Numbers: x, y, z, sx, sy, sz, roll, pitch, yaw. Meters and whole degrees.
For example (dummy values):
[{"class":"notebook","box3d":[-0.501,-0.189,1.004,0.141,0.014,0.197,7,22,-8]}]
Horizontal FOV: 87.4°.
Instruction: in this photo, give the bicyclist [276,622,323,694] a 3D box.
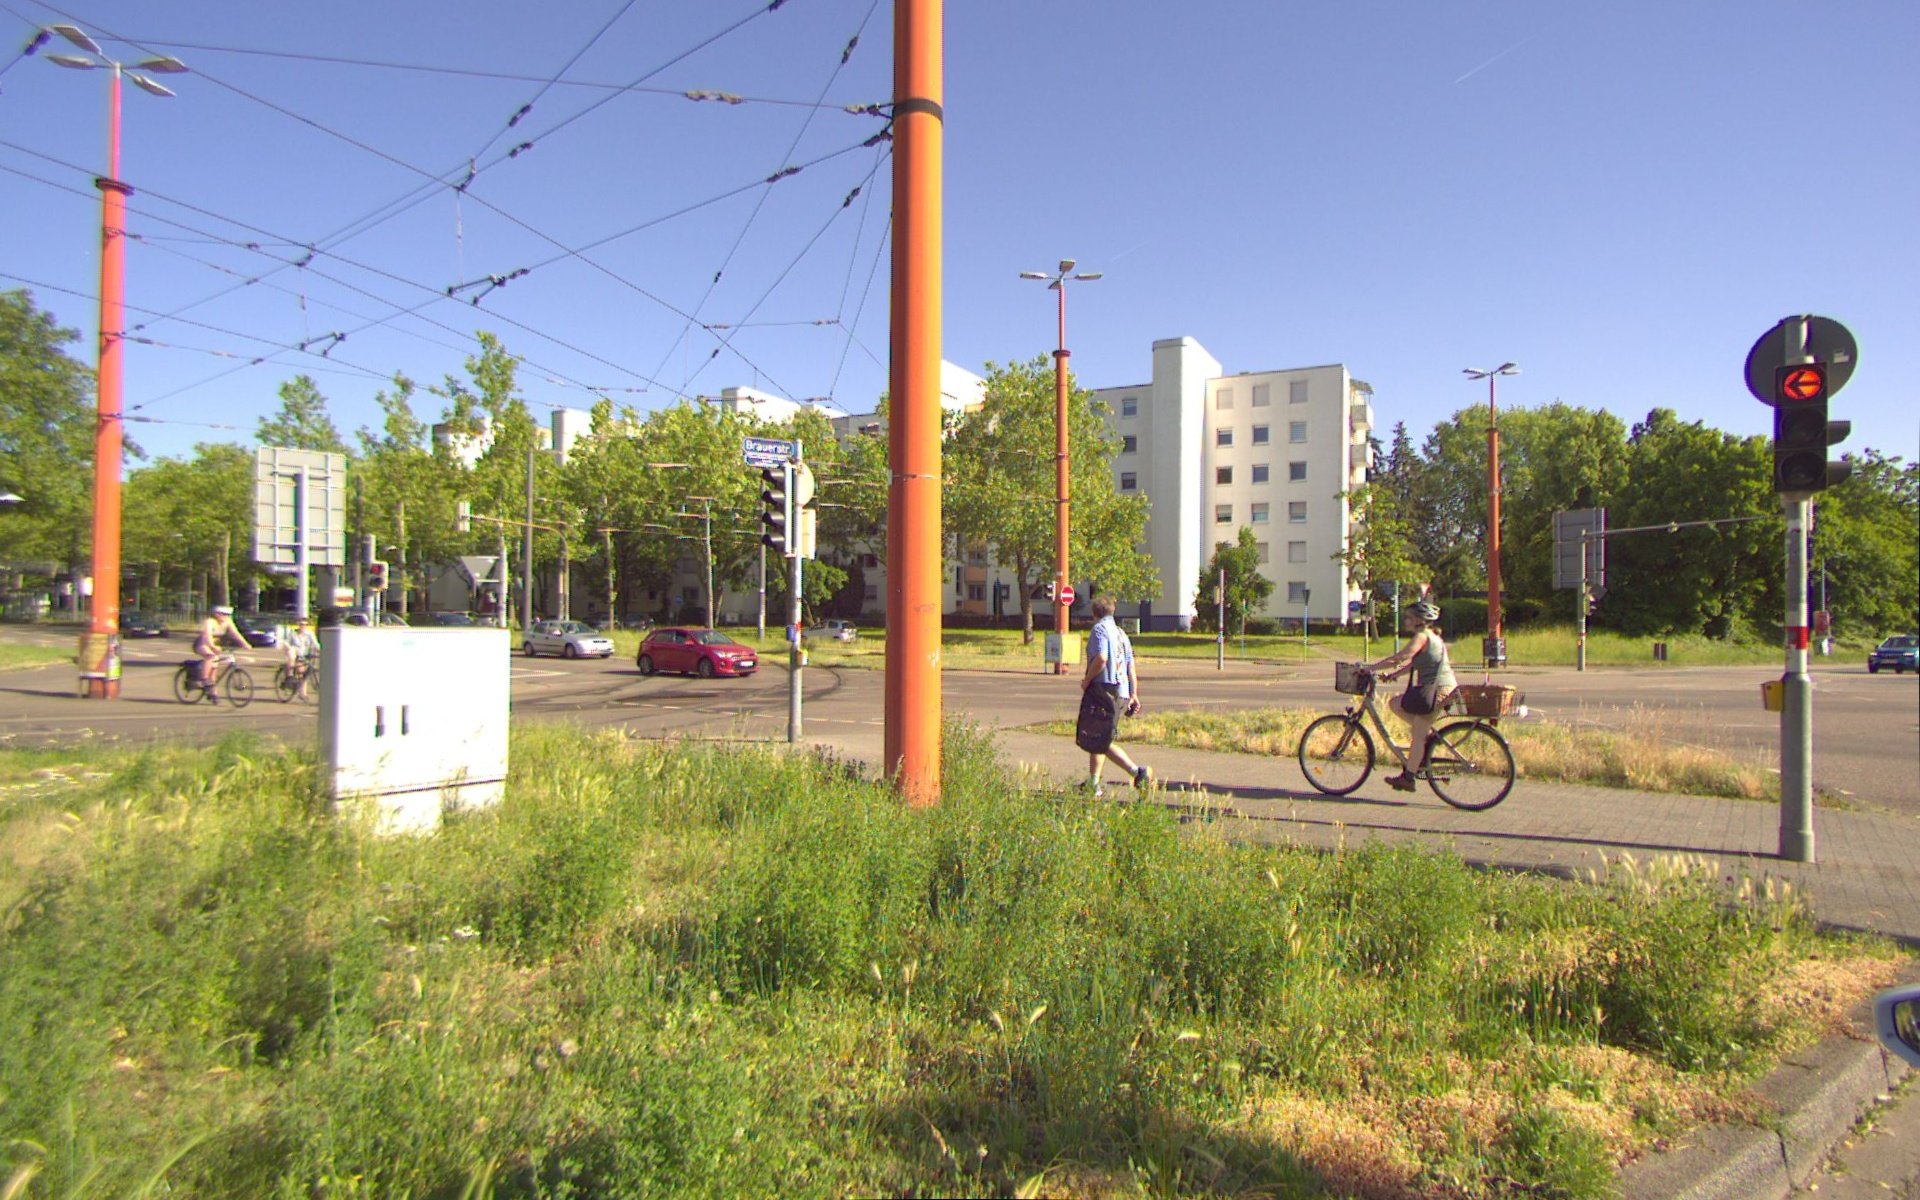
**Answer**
[{"class":"bicyclist","box3d":[-13.129,1.146,19.986,0.616,1.399,0.443,1,-1,-1]}]

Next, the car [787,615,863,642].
[{"class":"car","box3d":[-7.497,1.582,55.803,3.927,1.416,1.754,0,-1,29]}]

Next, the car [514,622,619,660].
[{"class":"car","box3d":[-14.920,1.529,38.062,3.926,1.363,1.486,0,-1,27]}]

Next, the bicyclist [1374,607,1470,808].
[{"class":"bicyclist","box3d":[3.919,0.867,8.506,0.651,1.605,0.671,0,-1,33]}]

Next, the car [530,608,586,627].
[{"class":"car","box3d":[-31.938,1.374,79.971,3.935,1.428,1.794,1,-1,-17]}]

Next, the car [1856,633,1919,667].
[{"class":"car","box3d":[37.156,1.964,39.620,3.571,1.260,1.730,1,-1,-31]}]

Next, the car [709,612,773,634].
[{"class":"car","box3d":[-14.542,1.555,66.842,1.770,1.428,3.987,0,-1,35]}]

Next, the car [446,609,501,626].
[{"class":"car","box3d":[-41.435,1.491,85.625,3.935,1.428,1.794,1,-1,-17]}]

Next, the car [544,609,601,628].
[{"class":"car","box3d":[-30.076,1.423,78.074,3.934,1.428,1.794,1,-1,-16]}]

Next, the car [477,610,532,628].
[{"class":"car","box3d":[-38.031,1.573,83.883,3.935,1.428,1.794,1,-1,-17]}]

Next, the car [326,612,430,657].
[{"class":"car","box3d":[-23.173,1.345,39.984,4.179,1.658,1.824,0,-1,32]}]

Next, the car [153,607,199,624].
[{"class":"car","box3d":[-93.988,1.888,120.455,1.969,2.040,3.984,0,-1,38]}]

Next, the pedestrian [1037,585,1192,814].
[{"class":"pedestrian","box3d":[1.338,0.803,8.675,0.973,1.817,0.951,0,-1,38]}]

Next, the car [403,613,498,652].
[{"class":"car","box3d":[-21.663,1.352,42.672,4.191,1.566,1.852,0,-1,35]}]

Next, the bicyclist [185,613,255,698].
[{"class":"bicyclist","box3d":[-13.998,1.039,19.009,0.752,1.565,0.732,1,-1,-1]}]

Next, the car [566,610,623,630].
[{"class":"car","box3d":[-27.577,1.491,75.920,3.934,1.428,1.794,1,-1,-16]}]

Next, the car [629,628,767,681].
[{"class":"car","box3d":[-7.864,1.578,30.073,3.994,1.454,1.682,0,-1,31]}]

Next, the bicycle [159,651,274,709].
[{"class":"bicycle","box3d":[-14.029,1.499,18.983,1.613,0.974,0.685,3,-1,-1]}]

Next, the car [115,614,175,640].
[{"class":"car","box3d":[-45.152,1.485,55.613,4.296,1.368,1.758,0,-1,39]}]

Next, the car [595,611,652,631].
[{"class":"car","box3d":[-24.996,1.561,74.695,3.934,1.428,1.794,1,-1,-16]}]

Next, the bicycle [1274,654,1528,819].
[{"class":"bicycle","box3d":[3.752,1.105,8.610,1.915,1.210,0.690,0,-1,33]}]

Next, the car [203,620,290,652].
[{"class":"car","box3d":[-32.721,1.636,46.024,4.288,1.368,1.761,0,-2,33]}]

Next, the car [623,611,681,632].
[{"class":"car","box3d":[-22.256,1.552,72.645,3.934,1.428,1.794,1,-1,-16]}]
